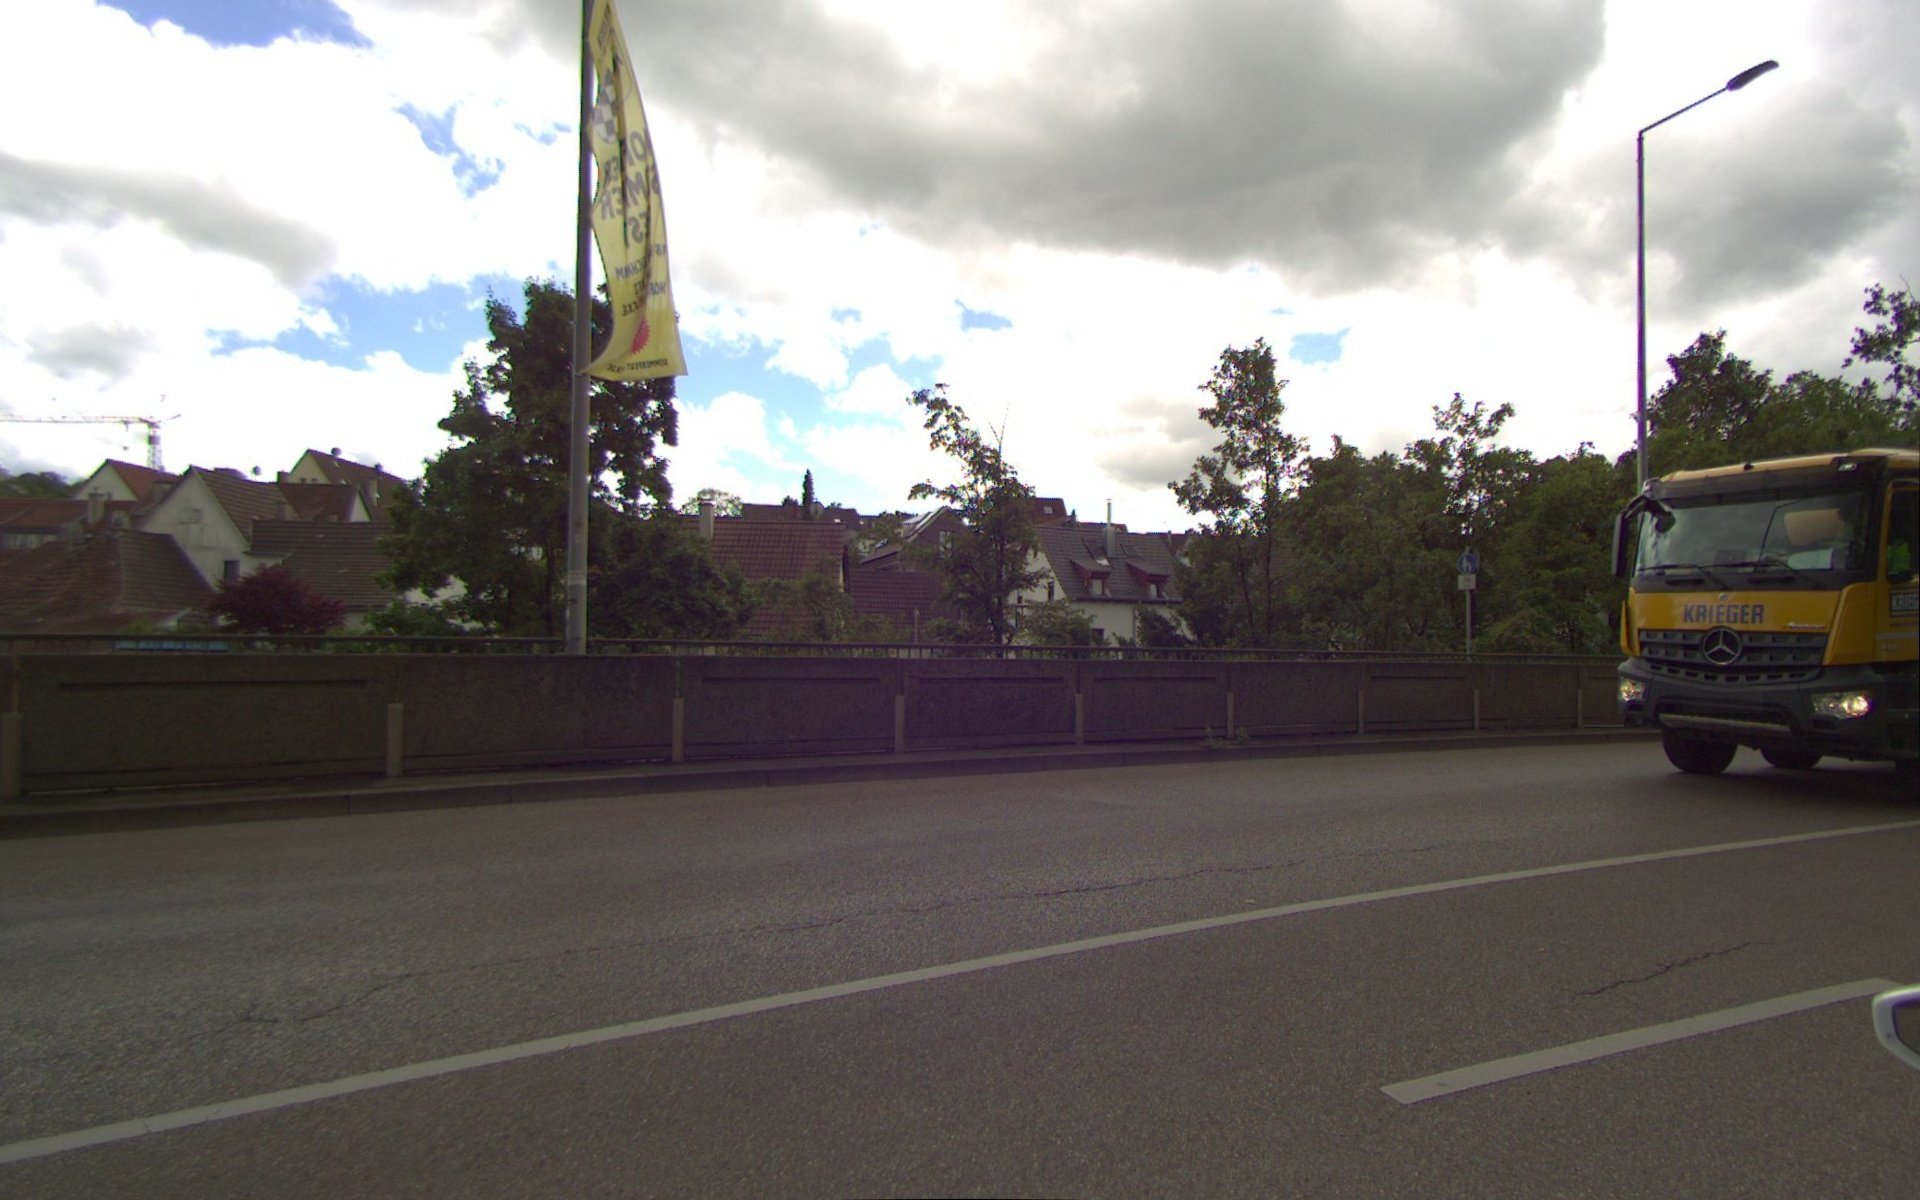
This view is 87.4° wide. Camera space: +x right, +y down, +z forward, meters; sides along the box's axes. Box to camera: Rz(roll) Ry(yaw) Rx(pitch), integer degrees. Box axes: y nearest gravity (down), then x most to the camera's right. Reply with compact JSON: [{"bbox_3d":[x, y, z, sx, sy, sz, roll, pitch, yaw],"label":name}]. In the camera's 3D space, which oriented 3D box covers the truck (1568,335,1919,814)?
[{"bbox_3d":[11.659,-0.047,11.536,9.966,3.990,2.649,2,-1,-23],"label":"truck"}]
